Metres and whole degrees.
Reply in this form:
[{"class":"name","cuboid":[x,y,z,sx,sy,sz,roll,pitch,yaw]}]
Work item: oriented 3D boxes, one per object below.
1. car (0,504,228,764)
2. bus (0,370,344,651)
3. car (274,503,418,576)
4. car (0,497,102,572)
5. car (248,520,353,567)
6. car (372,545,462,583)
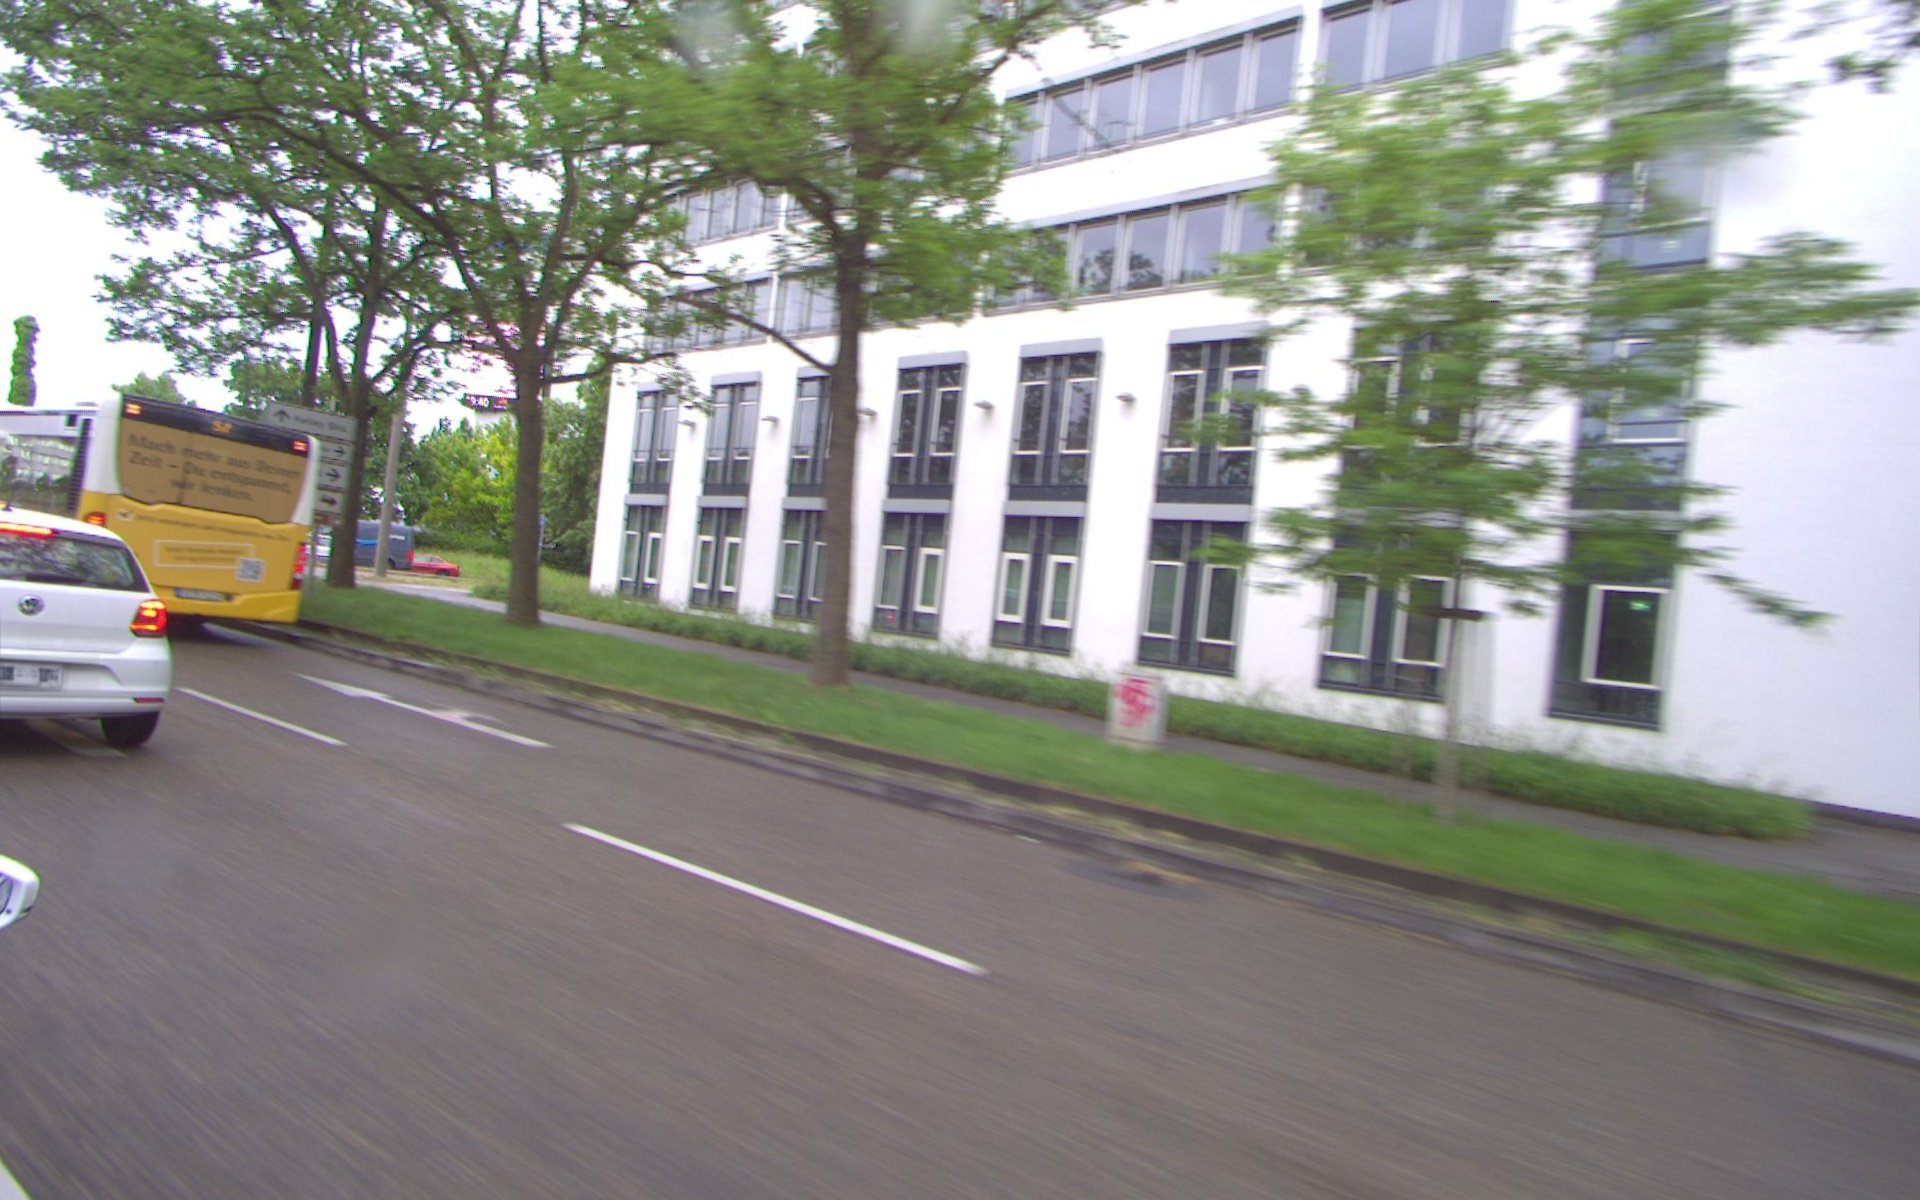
[{"class":"car","cuboid":[-6.849,0.047,6.744,3.749,1.448,1.744,6,-3,32]},{"class":"bus","cuboid":[-14.633,-1.625,16.521,11.950,3.188,2.731,7,-2,34]},{"class":"car","cuboid":[-31.460,-3.026,51.812,5.966,2.772,2.067,8,-3,-30]},{"class":"car","cuboid":[-22.555,-1.599,24.559,1.855,1.514,4.114,9,-3,-34]},{"class":"car","cuboid":[-31.734,-2.664,48.517,4.023,1.586,1.856,8,-3,-33]},{"class":"car","cuboid":[-32.081,-2.080,59.440,4.493,1.486,2.146,9,-3,-31]}]
